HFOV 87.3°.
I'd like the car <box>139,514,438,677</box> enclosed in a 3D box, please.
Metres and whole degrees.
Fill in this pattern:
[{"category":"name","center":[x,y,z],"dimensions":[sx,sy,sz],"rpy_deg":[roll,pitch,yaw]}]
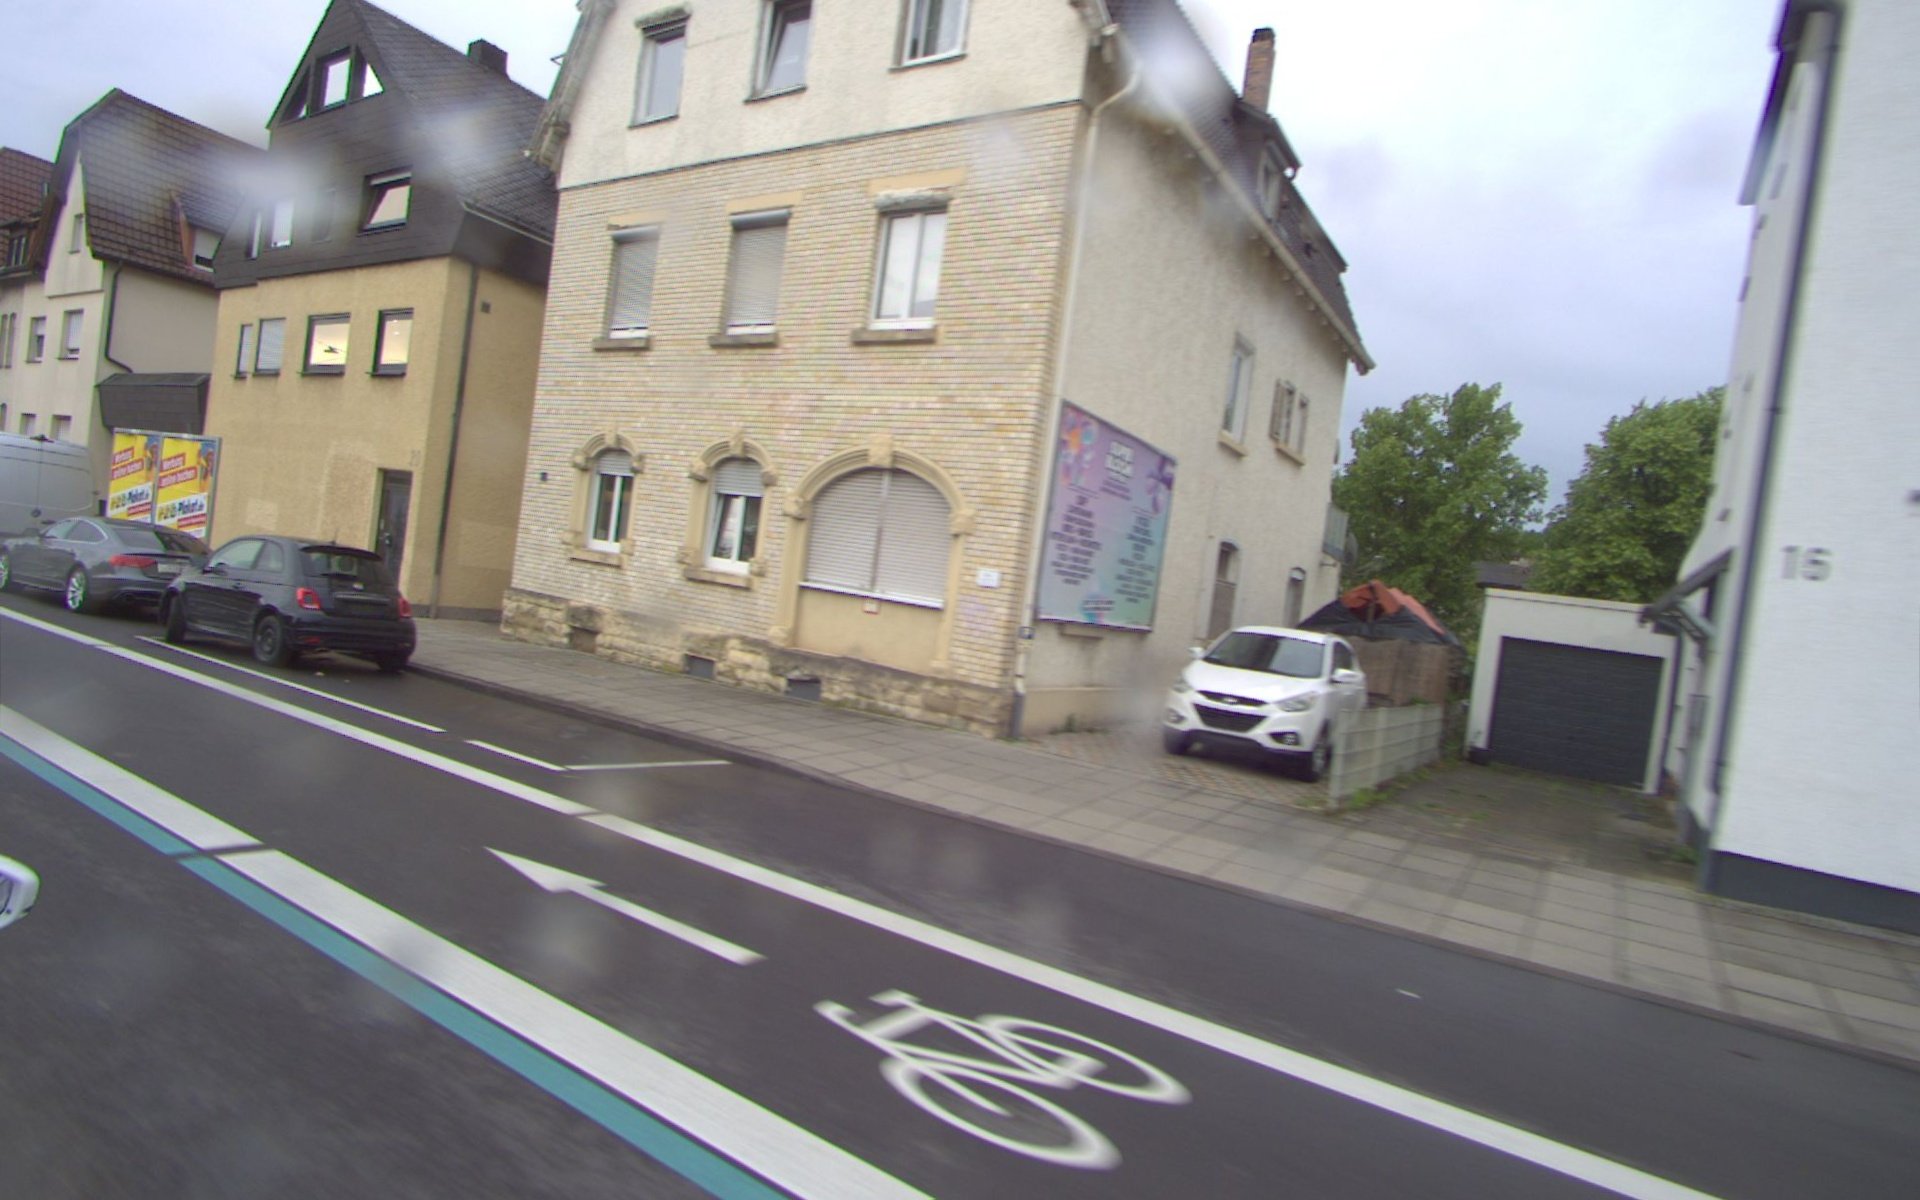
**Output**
[{"category":"car","center":[-8.427,-0.067,12.594],"dimensions":[3.452,1.515,1.570],"rpy_deg":[7,-2,29]}]

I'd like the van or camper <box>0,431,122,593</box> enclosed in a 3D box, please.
[{"category":"van or camper","center":[-18.674,-1.877,19.331],"dimensions":[5.943,2.593,1.997],"rpy_deg":[8,-1,32]}]

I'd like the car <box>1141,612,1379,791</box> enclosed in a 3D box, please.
[{"category":"car","center":[3.953,1.182,12.777],"dimensions":[1.839,1.675,3.991],"rpy_deg":[8,1,30]}]

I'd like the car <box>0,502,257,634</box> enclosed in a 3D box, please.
[{"category":"car","center":[-13.193,-0.539,15.652],"dimensions":[4.474,1.422,1.793],"rpy_deg":[8,-1,29]}]
